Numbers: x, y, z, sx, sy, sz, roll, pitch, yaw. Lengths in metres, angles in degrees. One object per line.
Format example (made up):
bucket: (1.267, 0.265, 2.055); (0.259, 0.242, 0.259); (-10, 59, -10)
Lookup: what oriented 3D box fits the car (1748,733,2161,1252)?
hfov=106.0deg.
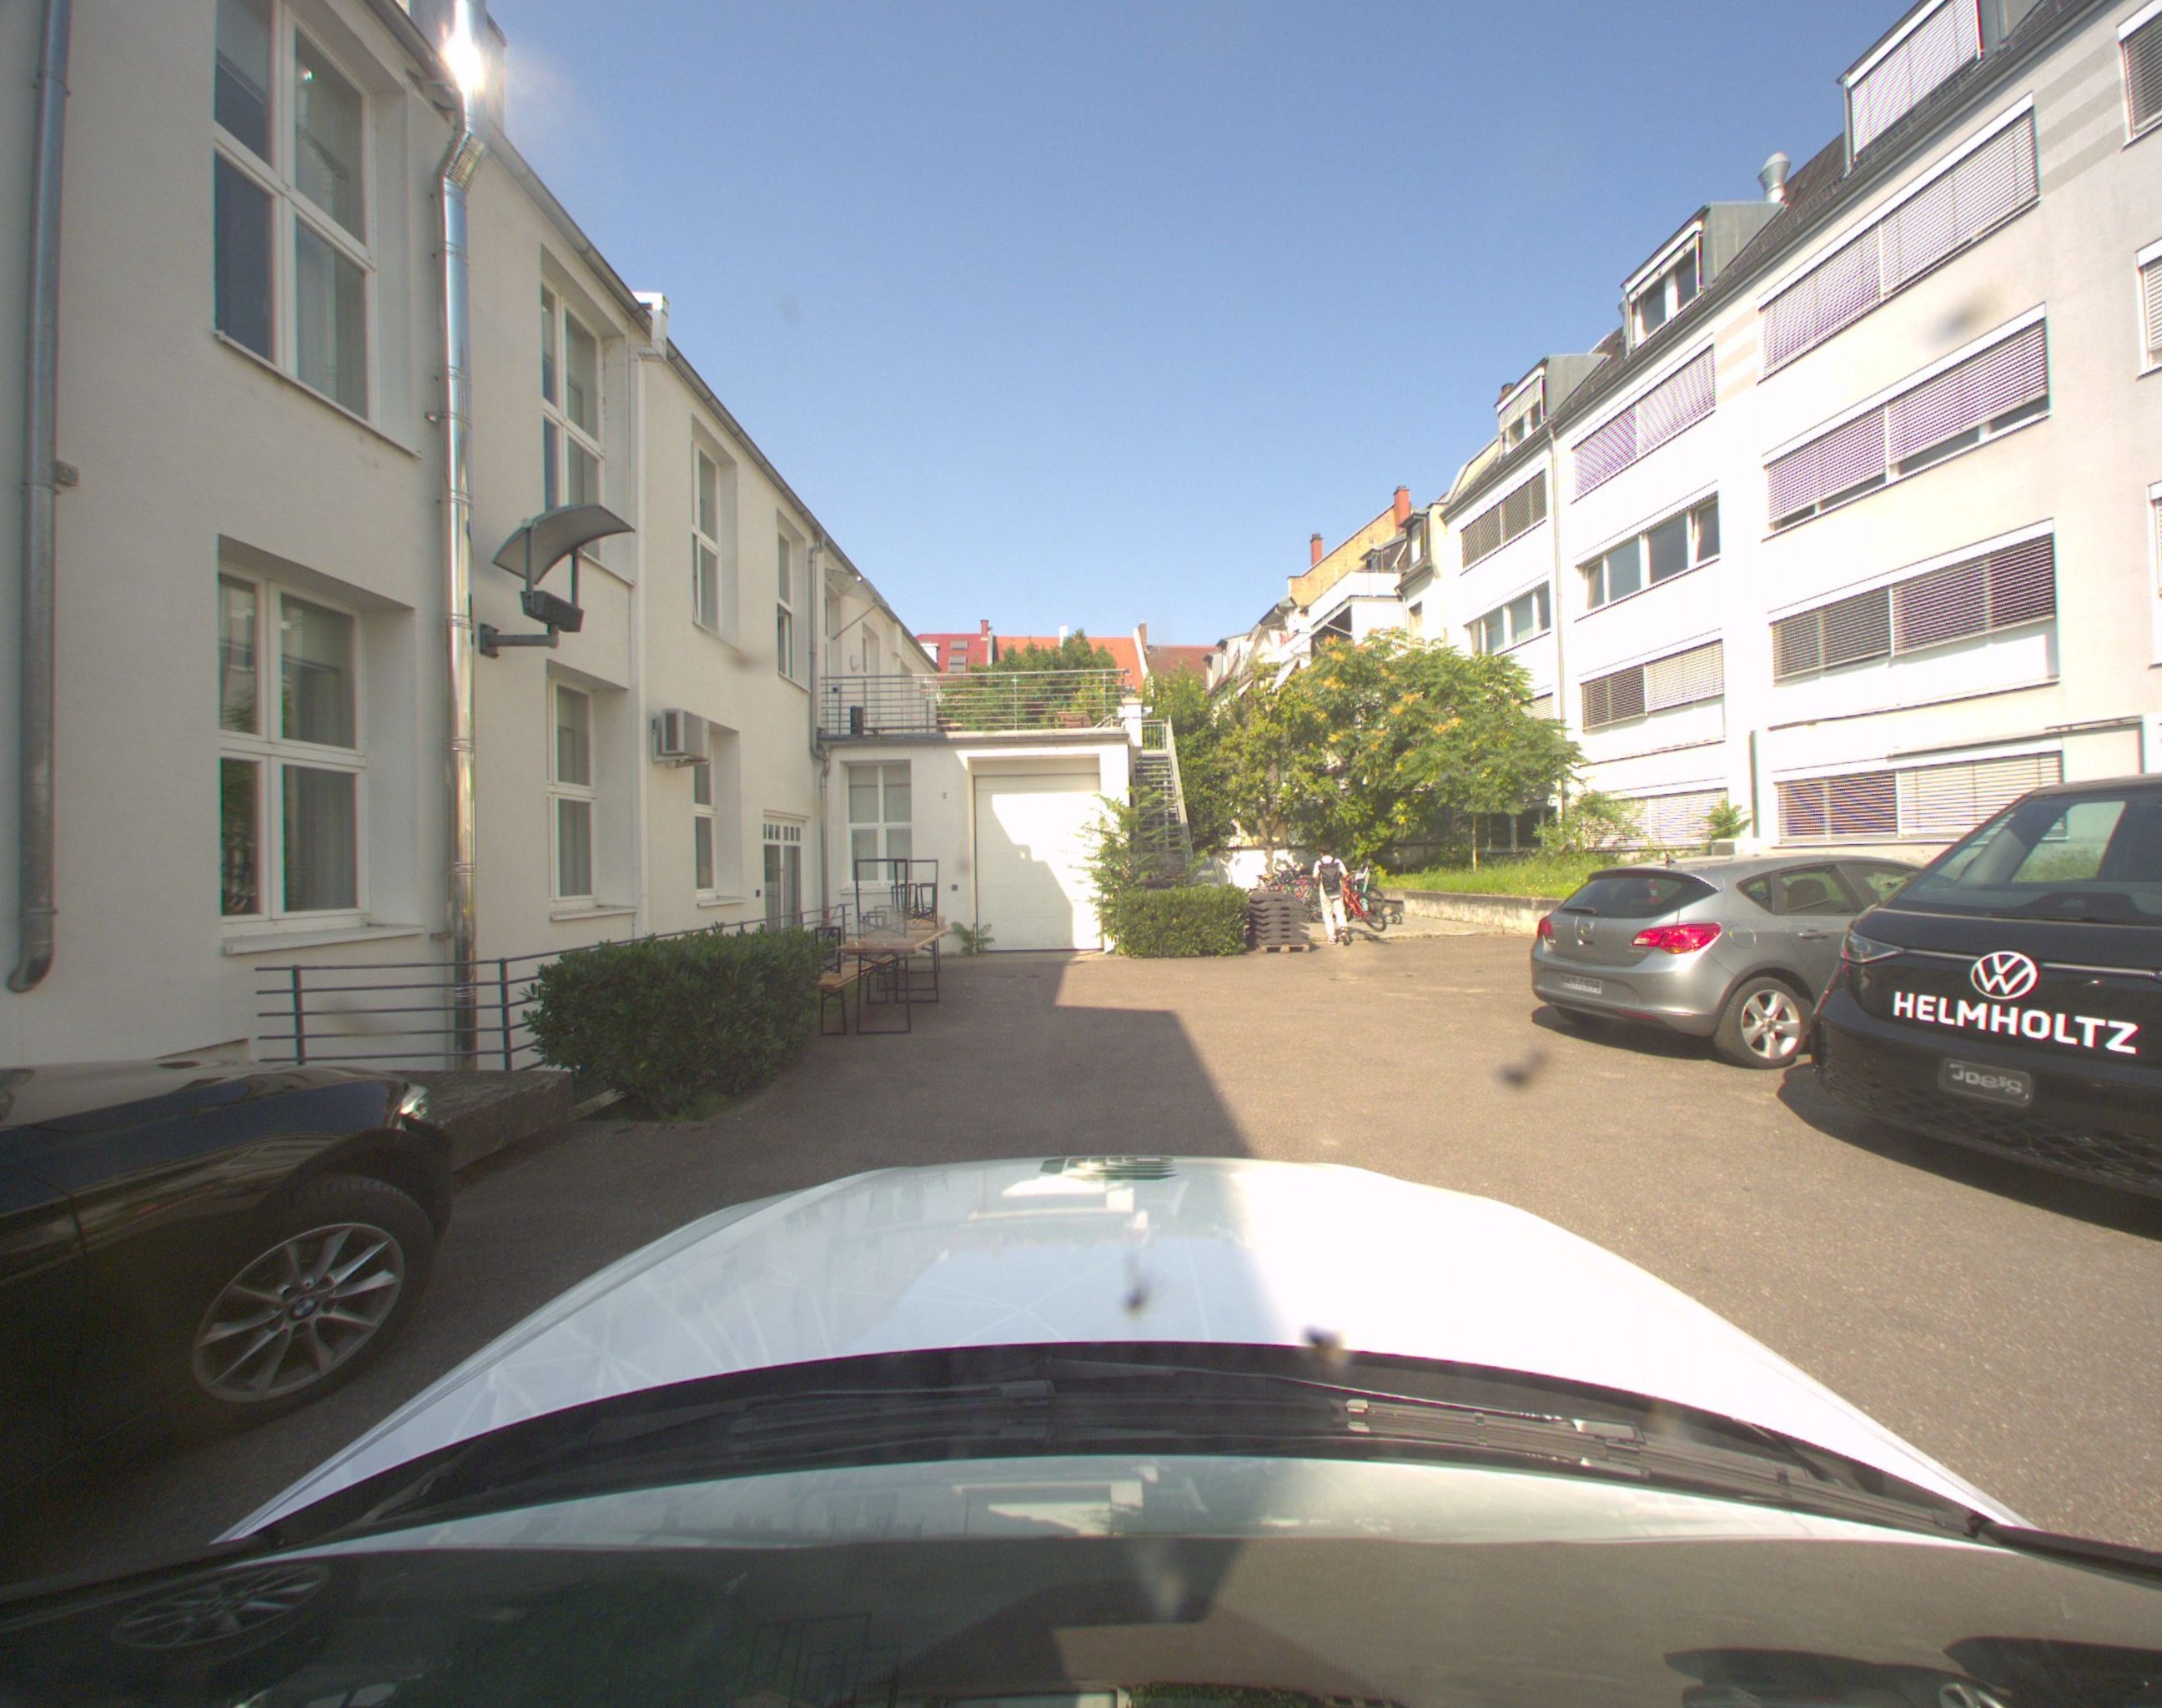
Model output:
car: (5.912, 0.441, 3.812); (4.334, 1.859, 1.909); (-2, 0, -9)

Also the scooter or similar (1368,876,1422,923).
scooter or similar: (6.447, 0.927, 16.731); (0.362, 0.924, 0.988); (0, -1, -37)

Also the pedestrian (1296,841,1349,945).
pedestrian: (4.285, 0.665, 14.449); (0.603, 1.772, 0.866); (-1, -1, 38)

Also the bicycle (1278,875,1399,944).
bicycle: (4.544, 0.962, 14.462); (1.968, 1.143, 0.493); (-2, 0, 38)

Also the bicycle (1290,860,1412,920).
bicycle: (5.729, 0.761, 17.350); (2.403, 1.246, 0.526); (-1, -1, 0)

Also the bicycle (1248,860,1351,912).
bicycle: (5.396, 0.784, 20.142); (2.403, 1.246, 0.526); (-1, -1, 0)

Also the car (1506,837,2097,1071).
car: (5.773, 0.666, 6.677); (3.900, 1.466, 1.656); (-2, 0, -13)

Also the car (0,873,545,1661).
car: (-2.881, 0.780, 0.995); (1.788, 1.428, 4.133); (-1, 0, -2)

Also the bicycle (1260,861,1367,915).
bicycle: (5.534, 0.795, 19.426); (2.403, 1.246, 0.526); (-1, -1, 0)

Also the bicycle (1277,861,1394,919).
bicycle: (5.609, 0.789, 18.012); (2.403, 1.246, 0.526); (-1, -1, 0)

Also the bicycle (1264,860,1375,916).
bicycle: (5.491, 0.785, 18.810); (2.403, 1.246, 0.526); (-1, -1, 0)
